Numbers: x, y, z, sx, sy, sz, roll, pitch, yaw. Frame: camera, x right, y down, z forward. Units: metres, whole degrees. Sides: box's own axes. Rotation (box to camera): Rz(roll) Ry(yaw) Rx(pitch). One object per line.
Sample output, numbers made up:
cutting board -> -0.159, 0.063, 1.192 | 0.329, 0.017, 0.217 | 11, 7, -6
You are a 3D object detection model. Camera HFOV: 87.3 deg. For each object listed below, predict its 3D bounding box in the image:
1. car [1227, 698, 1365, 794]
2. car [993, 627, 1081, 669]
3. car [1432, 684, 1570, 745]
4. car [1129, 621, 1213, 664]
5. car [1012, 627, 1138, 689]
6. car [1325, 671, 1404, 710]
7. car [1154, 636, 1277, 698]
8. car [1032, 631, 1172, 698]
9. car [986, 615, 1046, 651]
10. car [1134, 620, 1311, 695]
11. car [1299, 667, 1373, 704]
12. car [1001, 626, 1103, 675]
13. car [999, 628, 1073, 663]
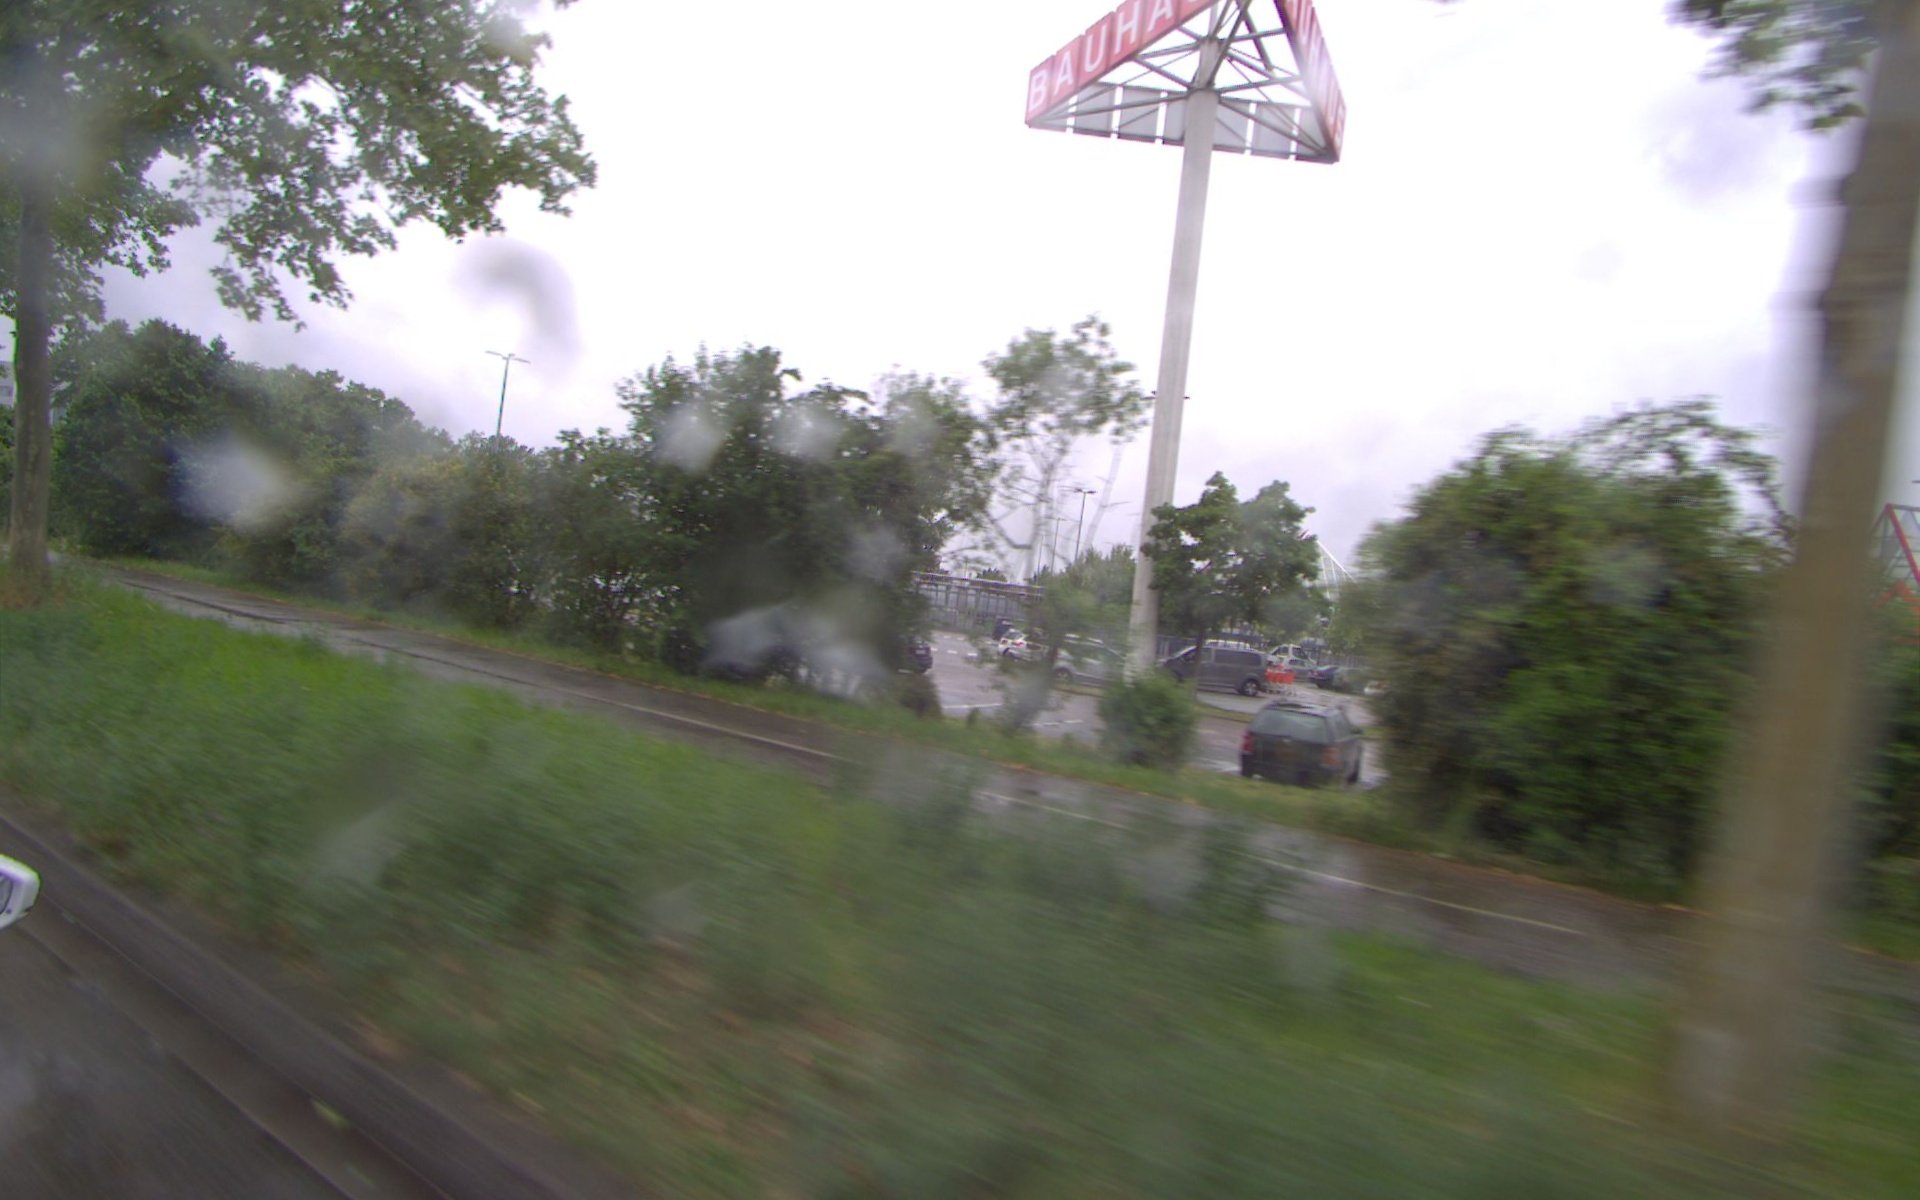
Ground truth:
car -> 6.084, 2.505, 17.944 | 1.724, 1.212, 3.844 | 7, -1, 26
car -> 3.641, 2.273, 48.003 | 3.956, 1.472, 1.806 | 8, -1, 2
car -> 21.194, 4.486, 39.530 | 4.260, 1.654, 1.939 | 8, -1, -3
car -> 10.840, 2.202, 51.990 | 3.954, 1.654, 1.941 | 8, -1, 8
car -> 4.173, 2.115, 37.142 | 4.259, 1.654, 1.940 | 8, -1, 0
car -> 21.942, 4.898, 54.666 | 3.446, 1.545, 1.804 | 8, -1, 5
car -> 10.759, 2.808, 42.664 | 4.662, 1.921, 2.002 | 8, -1, 7
car -> 4.803, 2.170, 34.359 | 4.262, 1.654, 1.938 | 8, -1, -5
car -> 3.879, 2.299, 70.116 | 3.925, 2.037, 1.900 | 7, -1, 1
car -> 12.121, 2.642, 47.004 | 7.431, 2.384, 2.589 | 8, -1, 3
car -> 21.324, 4.827, 57.106 | 3.446, 1.545, 1.804 | 8, -1, 5
car -> 4.038, 2.230, 44.847 | 4.258, 1.545, 1.940 | 8, -1, 1
car -> 4.097, 2.451, 54.598 | 3.802, 1.372, 1.565 | 7, -1, 4
